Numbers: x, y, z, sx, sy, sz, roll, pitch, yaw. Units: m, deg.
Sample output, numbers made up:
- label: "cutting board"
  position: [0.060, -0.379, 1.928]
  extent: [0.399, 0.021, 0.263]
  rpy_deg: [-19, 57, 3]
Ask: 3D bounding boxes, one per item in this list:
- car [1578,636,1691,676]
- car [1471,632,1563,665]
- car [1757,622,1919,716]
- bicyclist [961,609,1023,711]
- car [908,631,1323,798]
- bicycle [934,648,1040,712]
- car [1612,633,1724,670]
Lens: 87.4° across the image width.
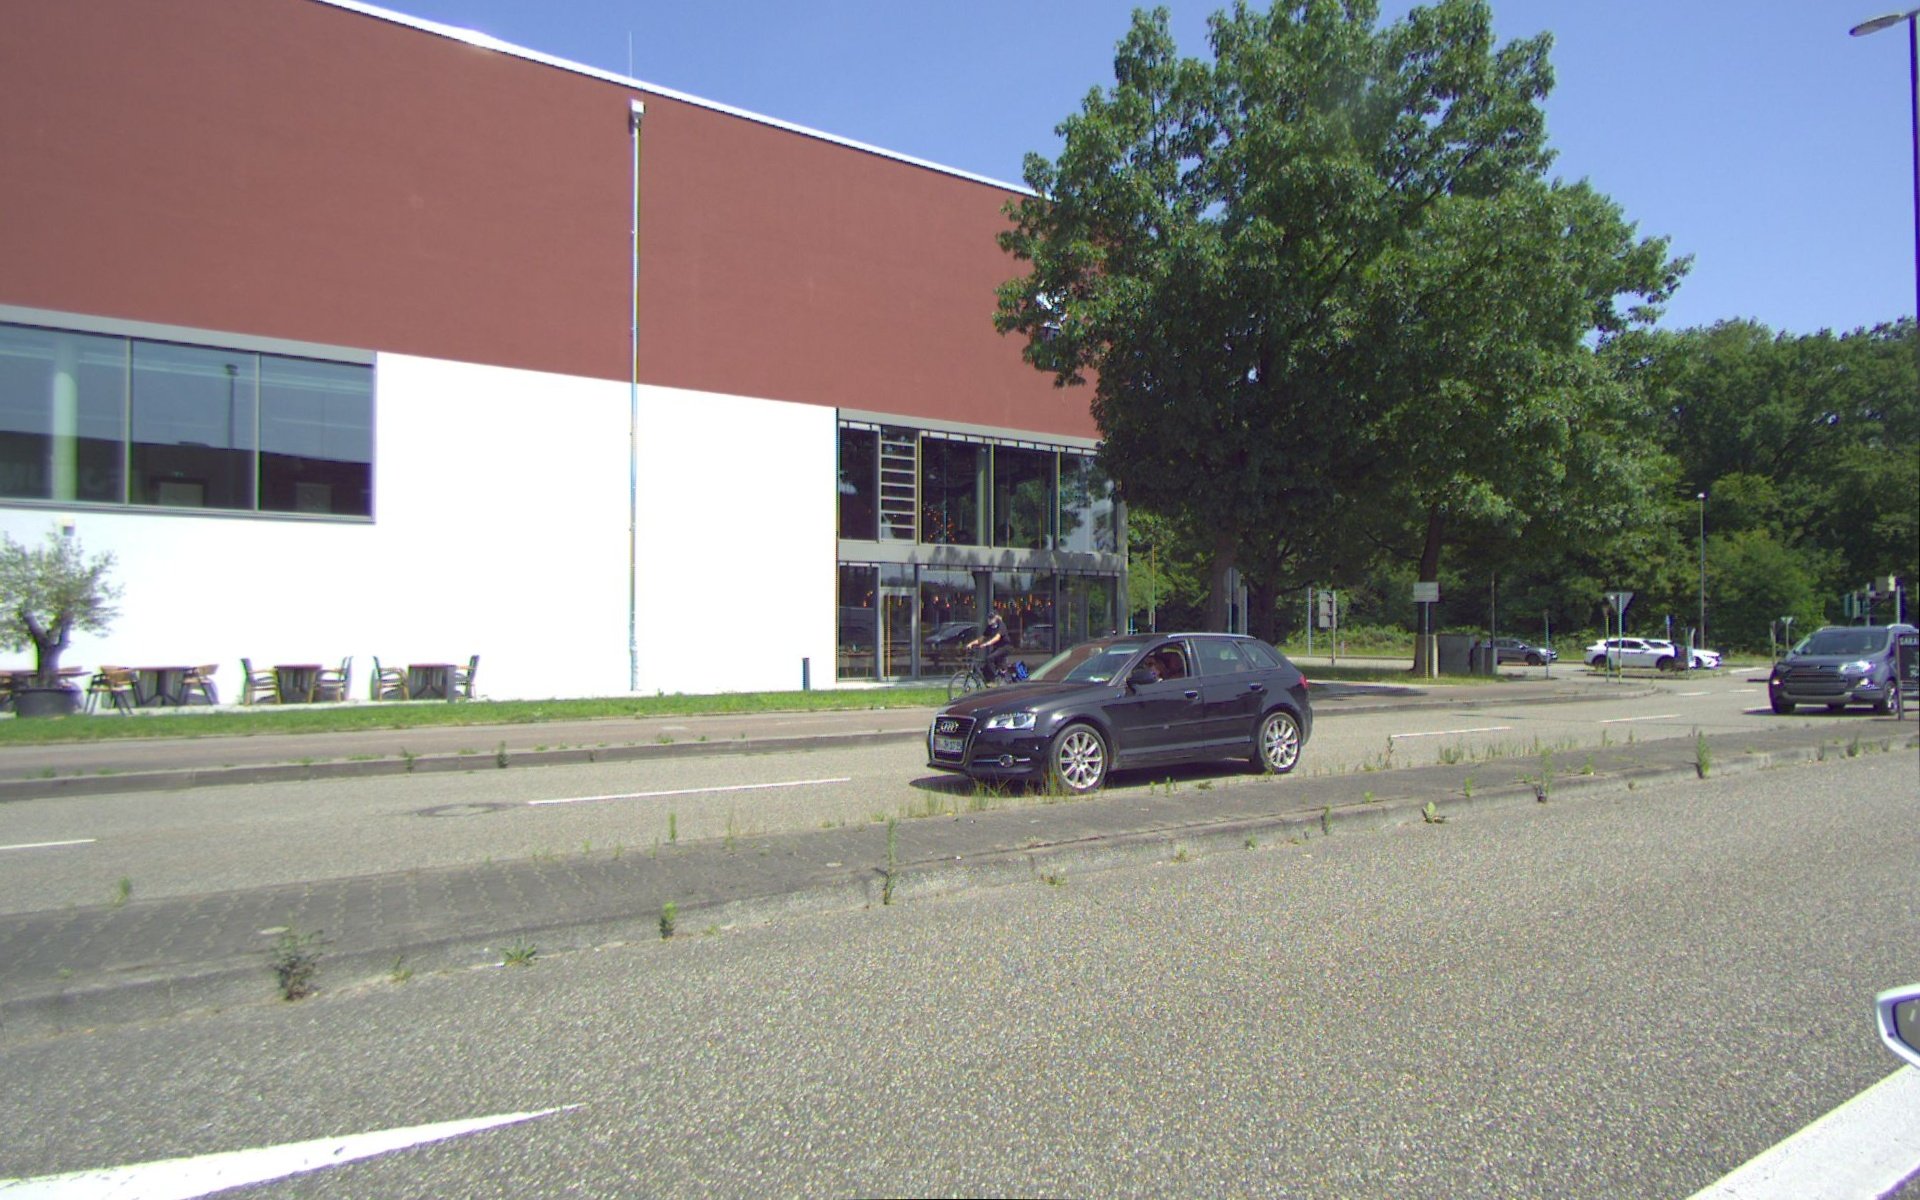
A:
- label: "car"
  position: [33.577, 2.736, 50.085]
  extent: [1.794, 1.704, 4.338]
  rpy_deg: [2, 0, -37]
- label: "car"
  position: [32.362, 2.800, 58.432]
  extent: [1.796, 1.704, 4.332]
  rpy_deg: [2, 0, -41]
- label: "car"
  position: [17.052, 1.292, 19.147]
  extent: [3.842, 1.621, 1.678]
  rpy_deg: [1, -4, -32]
- label: "bicyclist"
  position: [0.580, 1.063, 18.189]
  extent: [0.917, 1.793, 0.646]
  rpy_deg: [1, -1, -30]
- label: "car"
  position: [1.610, 1.022, 9.983]
  extent: [3.956, 1.356, 1.670]
  rpy_deg: [1, -4, -32]
- label: "bicycle"
  position: [0.505, 1.417, 18.137]
  extent: [1.862, 1.065, 0.652]
  rpy_deg: [1, -1, -31]
- label: "car"
  position: [36.726, 2.707, 52.189]
  extent: [1.794, 1.703, 4.340]
  rpy_deg: [2, -5, -37]
